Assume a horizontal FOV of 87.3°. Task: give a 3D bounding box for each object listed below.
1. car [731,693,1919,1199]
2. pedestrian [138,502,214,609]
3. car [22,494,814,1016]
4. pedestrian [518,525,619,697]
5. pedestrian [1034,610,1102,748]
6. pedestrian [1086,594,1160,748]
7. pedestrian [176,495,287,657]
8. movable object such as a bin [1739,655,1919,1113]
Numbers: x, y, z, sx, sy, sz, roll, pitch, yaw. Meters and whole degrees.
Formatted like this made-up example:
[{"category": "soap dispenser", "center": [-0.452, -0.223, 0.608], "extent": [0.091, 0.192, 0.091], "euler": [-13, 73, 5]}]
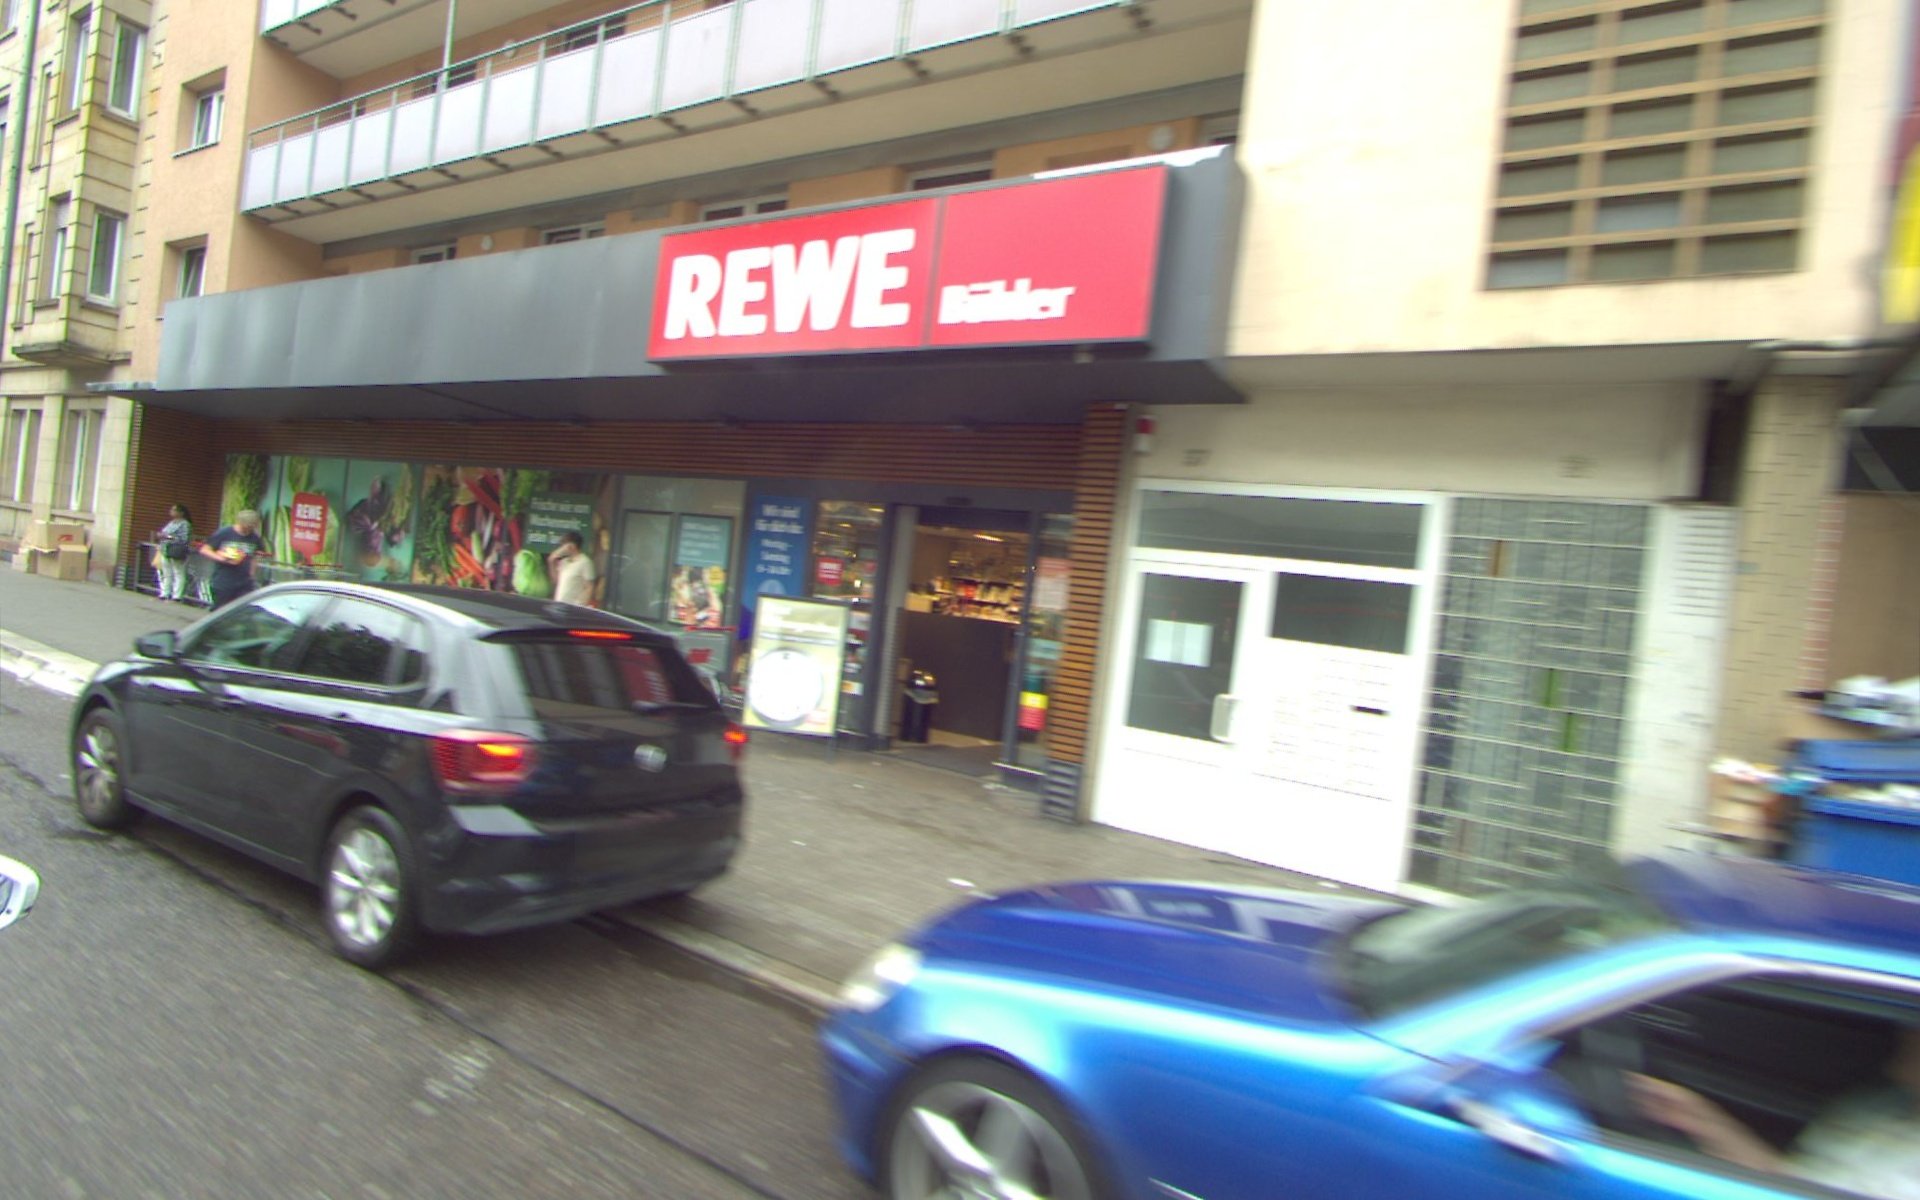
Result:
[{"category": "car", "center": [1.469, 1.151, 2.325], "extent": [3.707, 1.325, 1.737], "euler": [6, -2, 34]}, {"category": "pedestrian", "center": [-12.468, -0.696, 16.008], "extent": [0.615, 1.592, 0.563], "euler": [7, 0, 16]}, {"category": "car", "center": [-2.889, 0.491, 5.134], "extent": [3.916, 1.565, 1.733], "euler": [7, -2, 33]}, {"category": "pedestrian", "center": [-4.487, 0.129, 11.534], "extent": [0.716, 1.881, 0.596], "euler": [6, -1, 35]}, {"category": "pedestrian", "center": [1.492, 1.082, 13.877], "extent": [0.612, 1.799, 0.495], "euler": [7, 0, 24]}, {"category": "pedestrian", "center": [2.242, 0.974, 13.836], "extent": [0.629, 2.008, 0.573], "euler": [7, 0, 28]}, {"category": "pedestrian", "center": [-8.117, -0.259, 11.211], "extent": [0.736, 1.672, 0.626], "euler": [10, 2, 34]}, {"category": "movable object such as a bin", "center": [4.391, 1.225, 4.399], "extent": [1.274, 1.815, 1.000], "euler": [6, 0, 30]}]
